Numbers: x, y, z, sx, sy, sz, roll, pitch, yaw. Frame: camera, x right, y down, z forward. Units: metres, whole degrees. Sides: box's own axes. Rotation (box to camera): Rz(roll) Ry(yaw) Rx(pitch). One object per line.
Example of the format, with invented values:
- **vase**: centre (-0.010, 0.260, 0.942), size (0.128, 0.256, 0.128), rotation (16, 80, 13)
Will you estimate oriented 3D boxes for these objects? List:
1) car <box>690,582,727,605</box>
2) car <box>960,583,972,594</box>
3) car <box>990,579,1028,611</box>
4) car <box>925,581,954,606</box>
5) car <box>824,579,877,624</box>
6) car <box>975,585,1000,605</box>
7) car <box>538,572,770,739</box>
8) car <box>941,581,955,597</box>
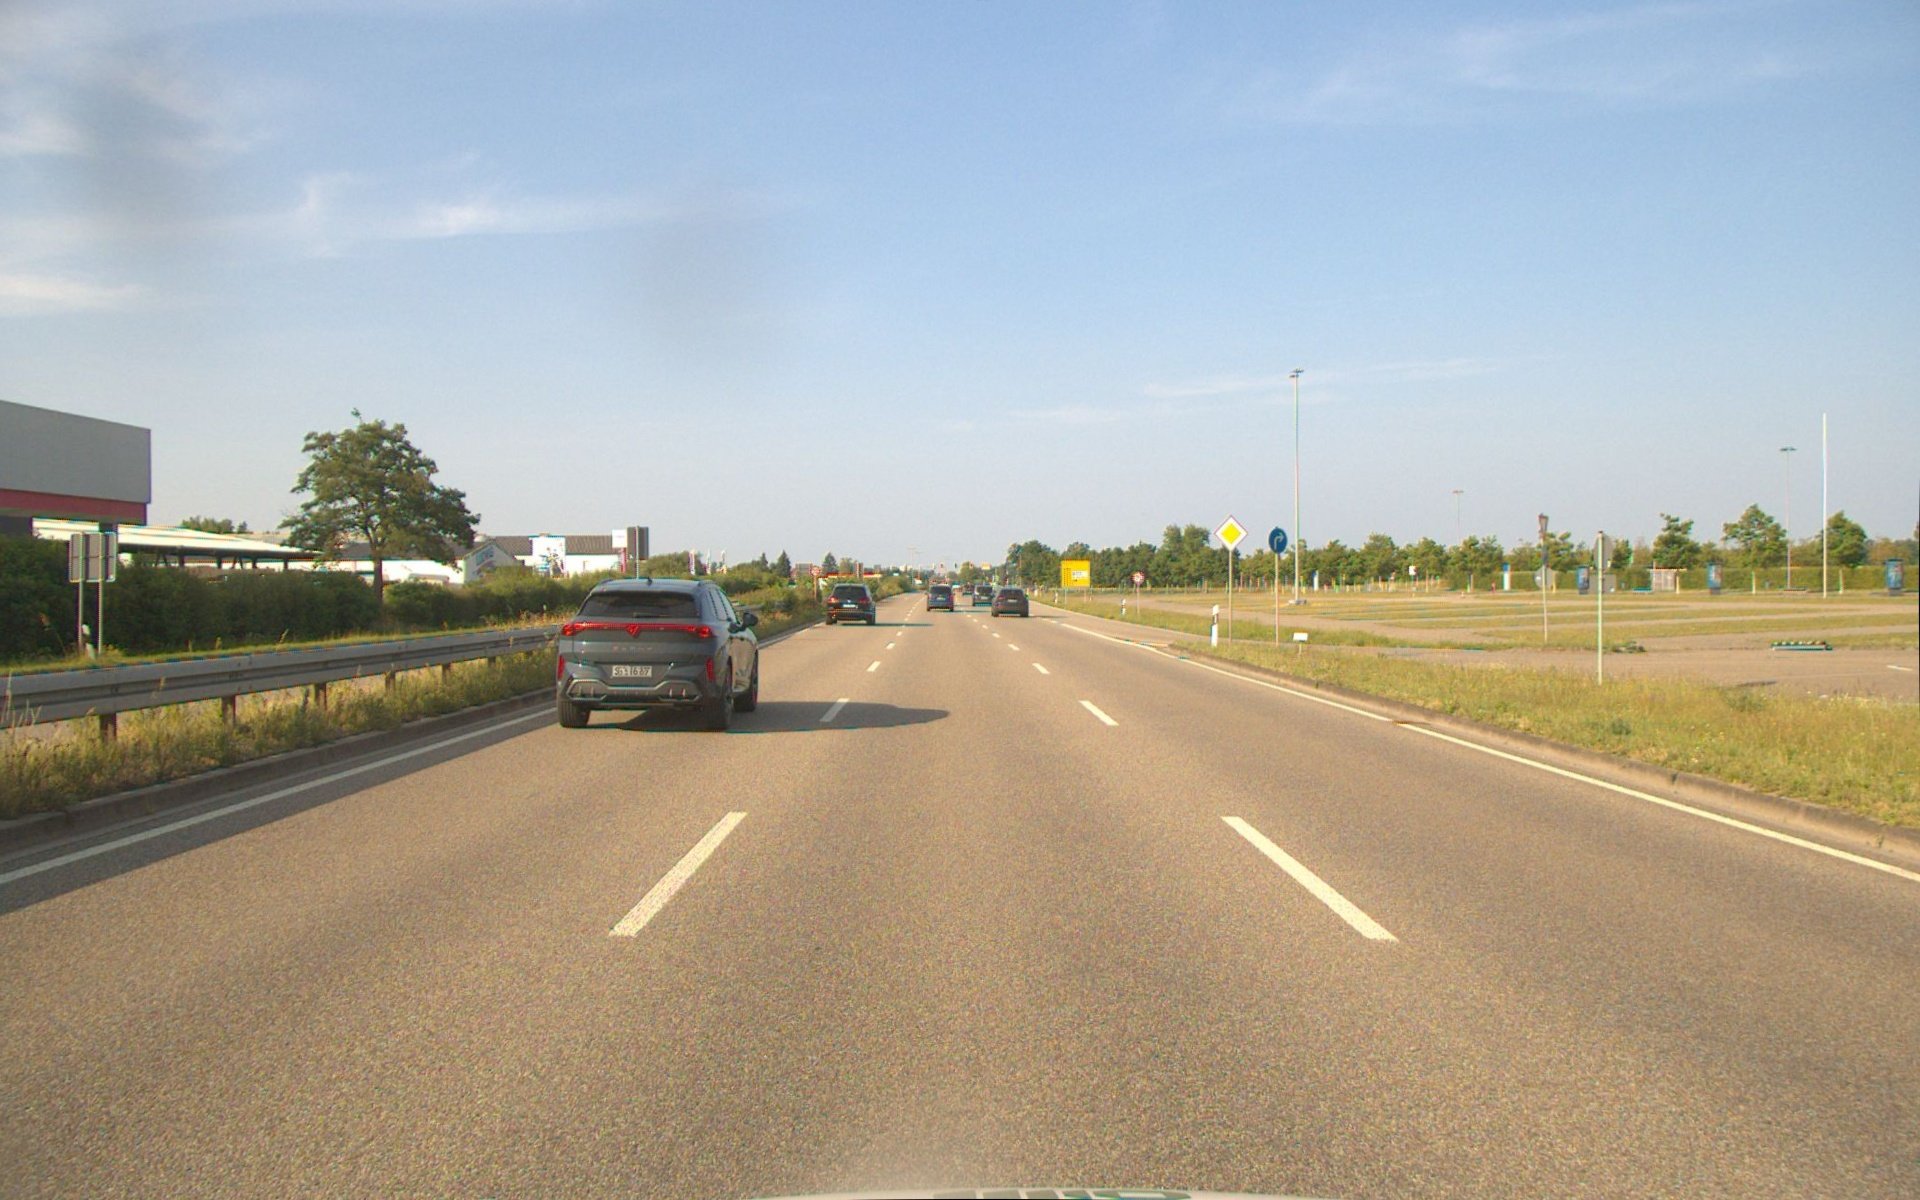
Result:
- **car**: centre (-16.328, -0.454, 107.449), size (1.743, 1.449, 4.000), rotation (-1, 0, 0)
- **car**: centre (0.744, -1.417, 204.523), size (1.472, 1.336, 3.156), rotation (2, 1, 0)
- **car**: centre (2.687, -0.306, 92.022), size (1.893, 1.709, 4.400), rotation (2, 1, 0)
- **car**: centre (-1.287, -0.446, 106.545), size (1.776, 1.488, 4.400), rotation (2, 1, 0)
- **car**: centre (-4.518, 0.035, 68.661), size (1.893, 1.709, 4.400), rotation (2, 1, 0)
- **car**: centre (2.140, -0.430, 131.017), size (1.835, 1.488, 3.980), rotation (2, 1, 0)
- **car**: centre (-3.348, 0.538, 18.923), size (1.808, 1.640, 4.400), rotation (2, 1, 0)
- **car**: centre (-1.387, -1.237, 190.297), size (1.612, 1.758, 3.400), rotation (1, 0, -1)
